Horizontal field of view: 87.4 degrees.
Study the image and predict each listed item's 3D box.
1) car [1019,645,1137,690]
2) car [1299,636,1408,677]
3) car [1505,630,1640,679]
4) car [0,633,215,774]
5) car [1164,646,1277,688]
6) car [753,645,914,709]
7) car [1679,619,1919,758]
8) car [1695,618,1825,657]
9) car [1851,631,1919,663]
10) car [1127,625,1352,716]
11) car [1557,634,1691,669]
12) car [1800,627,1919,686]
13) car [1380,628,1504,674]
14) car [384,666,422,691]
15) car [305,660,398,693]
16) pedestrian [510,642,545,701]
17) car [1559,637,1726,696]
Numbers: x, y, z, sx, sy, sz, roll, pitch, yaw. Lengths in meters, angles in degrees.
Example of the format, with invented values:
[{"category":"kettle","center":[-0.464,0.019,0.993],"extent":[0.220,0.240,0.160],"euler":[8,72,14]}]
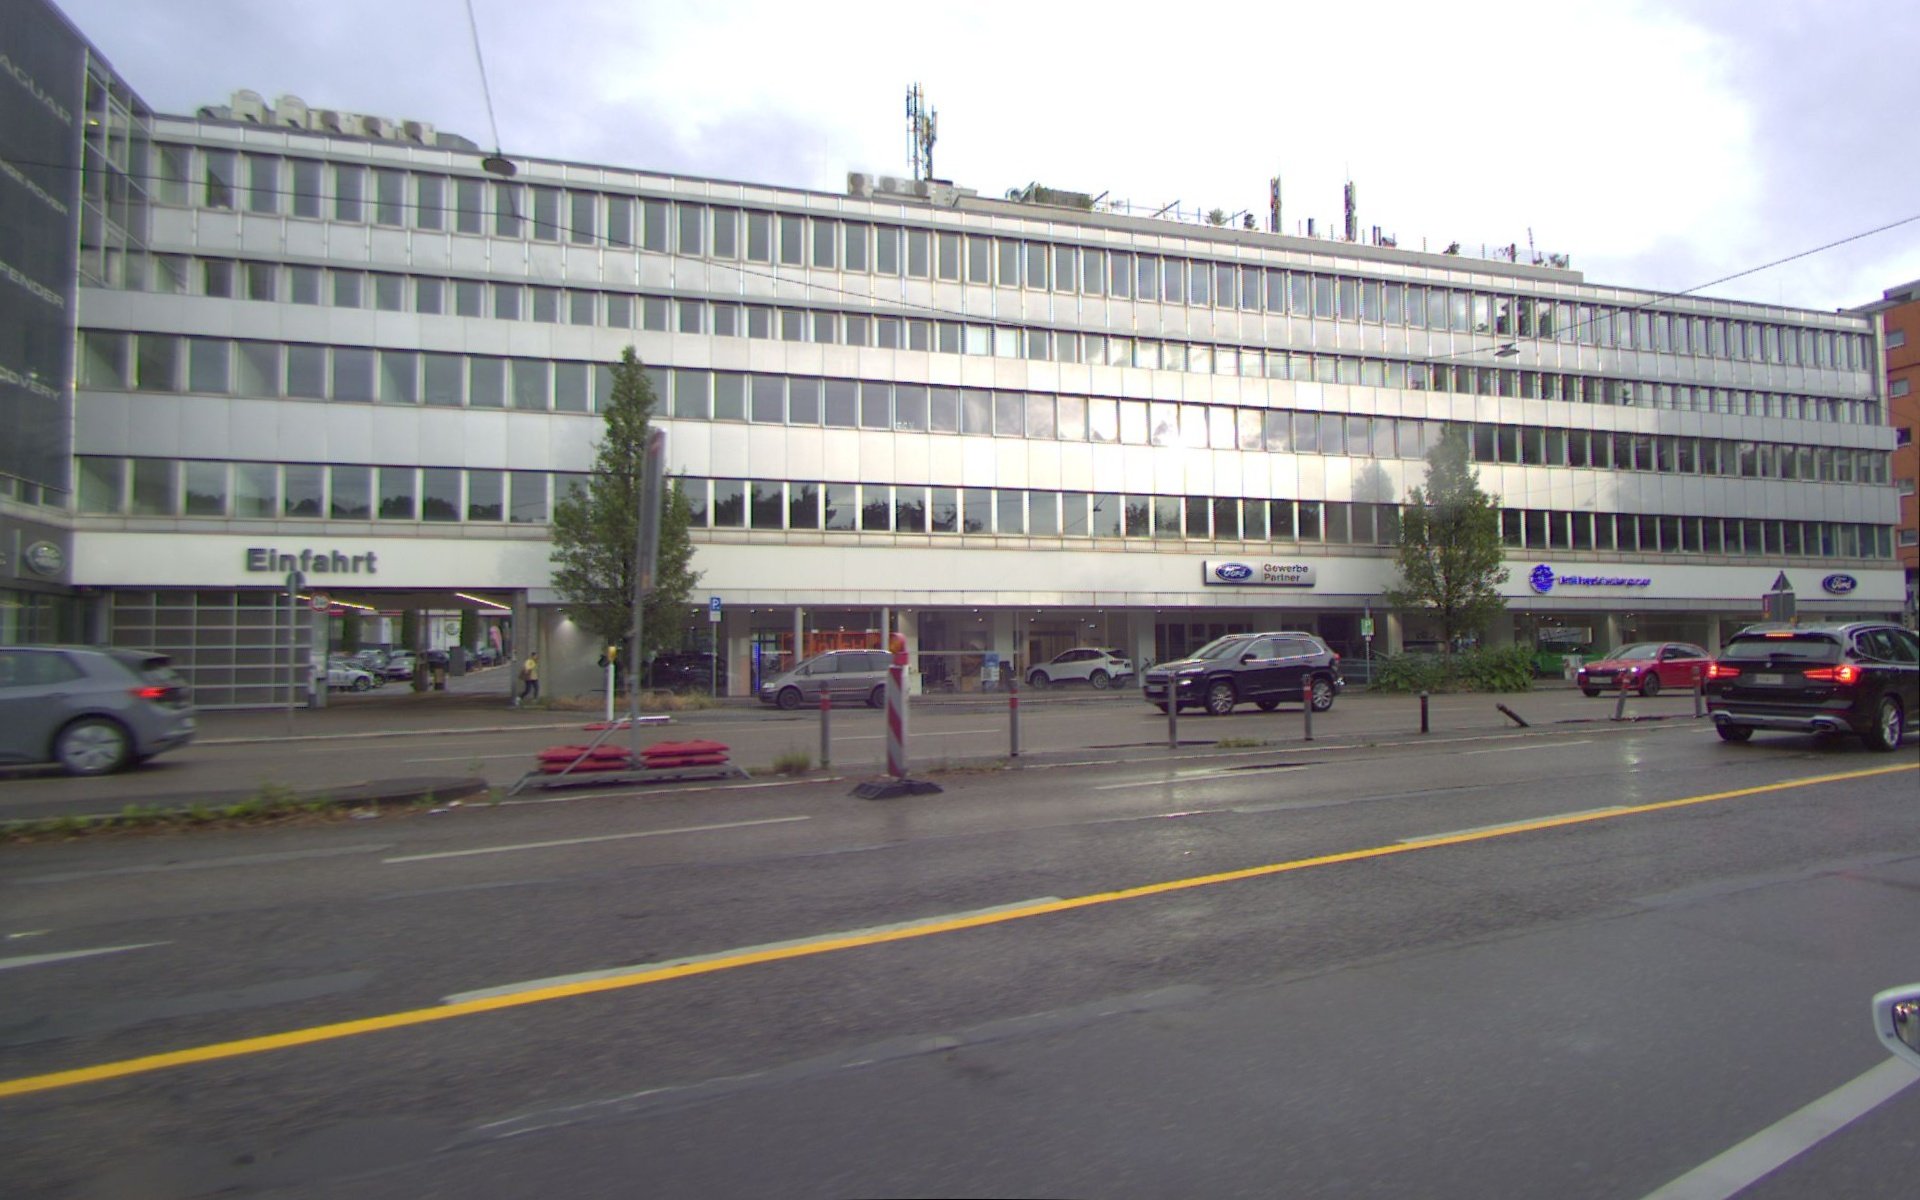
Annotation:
[{"category":"car","center":[4.711,2.732,40.311],"extent":[4.308,1.673,1.851],"euler":[-4,-5,30]},{"category":"car","center":[16.887,2.468,43.165],"extent":[3.938,1.594,1.993],"euler":[-5,-5,37]},{"category":"car","center":[28.202,2.550,46.403],"extent":[5.116,2.037,1.996],"euler":[-4,-5,31]},{"category":"car","center":[-11.572,1.208,11.830],"extent":[4.251,1.578,1.800],"euler":[1,-4,-30]},{"category":"car","center":[10.480,2.721,40.528],"extent":[3.930,1.594,1.997],"euler":[0,-4,-12]},{"category":"car","center":[-3.889,2.334,30.650],"extent":[4.651,1.801,1.849],"euler":[0,-4,-16]},{"category":"car","center":[12.432,1.103,14.067],"extent":[4.609,1.619,1.940],"euler":[0,-1,-27]},{"category":"car","center":[40.465,1.950,50.913],"extent":[1.979,1.761,4.732],"euler":[2,-5,-33]},{"category":"car","center":[64.124,3.242,69.362],"extent":[4.781,2.041,1.989],"euler":[1,1,-22]},{"category":"car","center":[5.960,1.471,21.361],"extent":[4.544,1.760,1.840],"euler":[1,-4,-26]},{"category":"car","center":[32.920,2.612,49.917],"extent":[1.983,1.540,5.151],"euler":[2,-6,-38]},{"category":"car","center":[29.370,1.832,32.369],"extent":[4.241,1.809,1.730],"euler":[1,-5,-24]},{"category":"car","center":[21.805,2.358,45.689],"extent":[4.893,1.921,2.000],"euler":[-3,-5,23]},{"category":"car","center":[-39.591,5.571,71.458],"extent":[1.763,1.711,3.791],"euler":[0,-5,-20]},{"category":"car","center":[-33.653,4.219,55.673],"extent":[1.855,1.724,3.991],"euler":[-4,-5,32]},{"category":"pedestrian","center":[-13.054,2.155,30.316],"extent":[0.657,1.742,0.706],"euler":[-3,-5,30]},{"category":"car","center":[18.880,1.841,27.789],"extent":[4.313,1.521,1.825],"euler":[1,-5,-25]}]
